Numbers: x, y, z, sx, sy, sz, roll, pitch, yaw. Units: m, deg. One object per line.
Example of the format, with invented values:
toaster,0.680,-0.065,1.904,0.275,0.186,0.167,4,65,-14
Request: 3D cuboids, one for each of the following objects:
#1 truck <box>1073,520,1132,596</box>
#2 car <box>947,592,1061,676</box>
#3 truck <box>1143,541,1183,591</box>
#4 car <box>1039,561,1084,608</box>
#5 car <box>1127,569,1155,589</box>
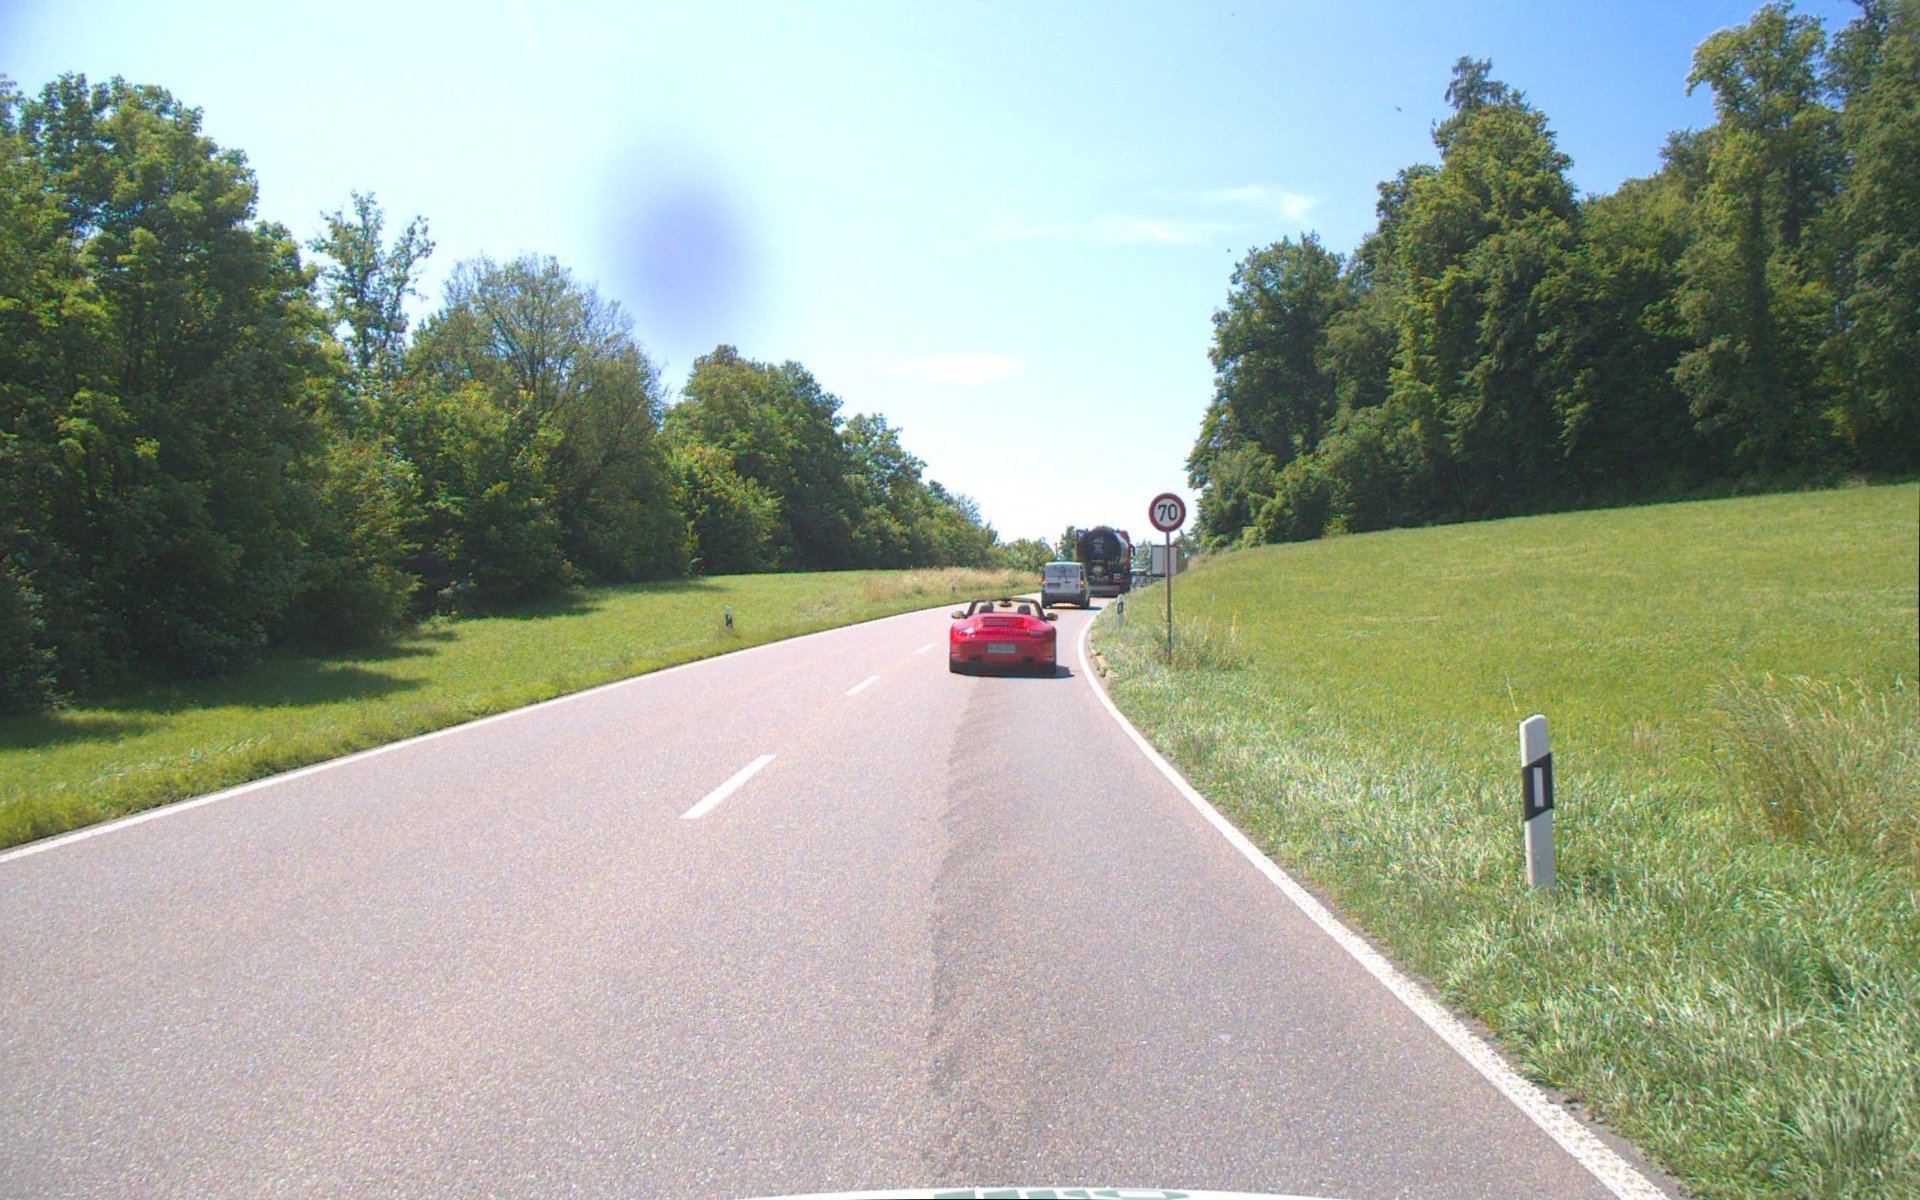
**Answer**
truck,8.499,-2.459,97.240,2.352,4.120,12.562,2,1,9
car,0.702,0.546,29.075,1.844,1.277,4.009,1,1,-1
truck,20.225,-3.342,164.315,3.646,4.741,12.041,-1,1,8
car,4.343,-0.692,70.206,1.643,1.934,4.013,0,1,7
car,14.448,-1.680,131.647,1.791,1.540,4.195,-1,1,12
